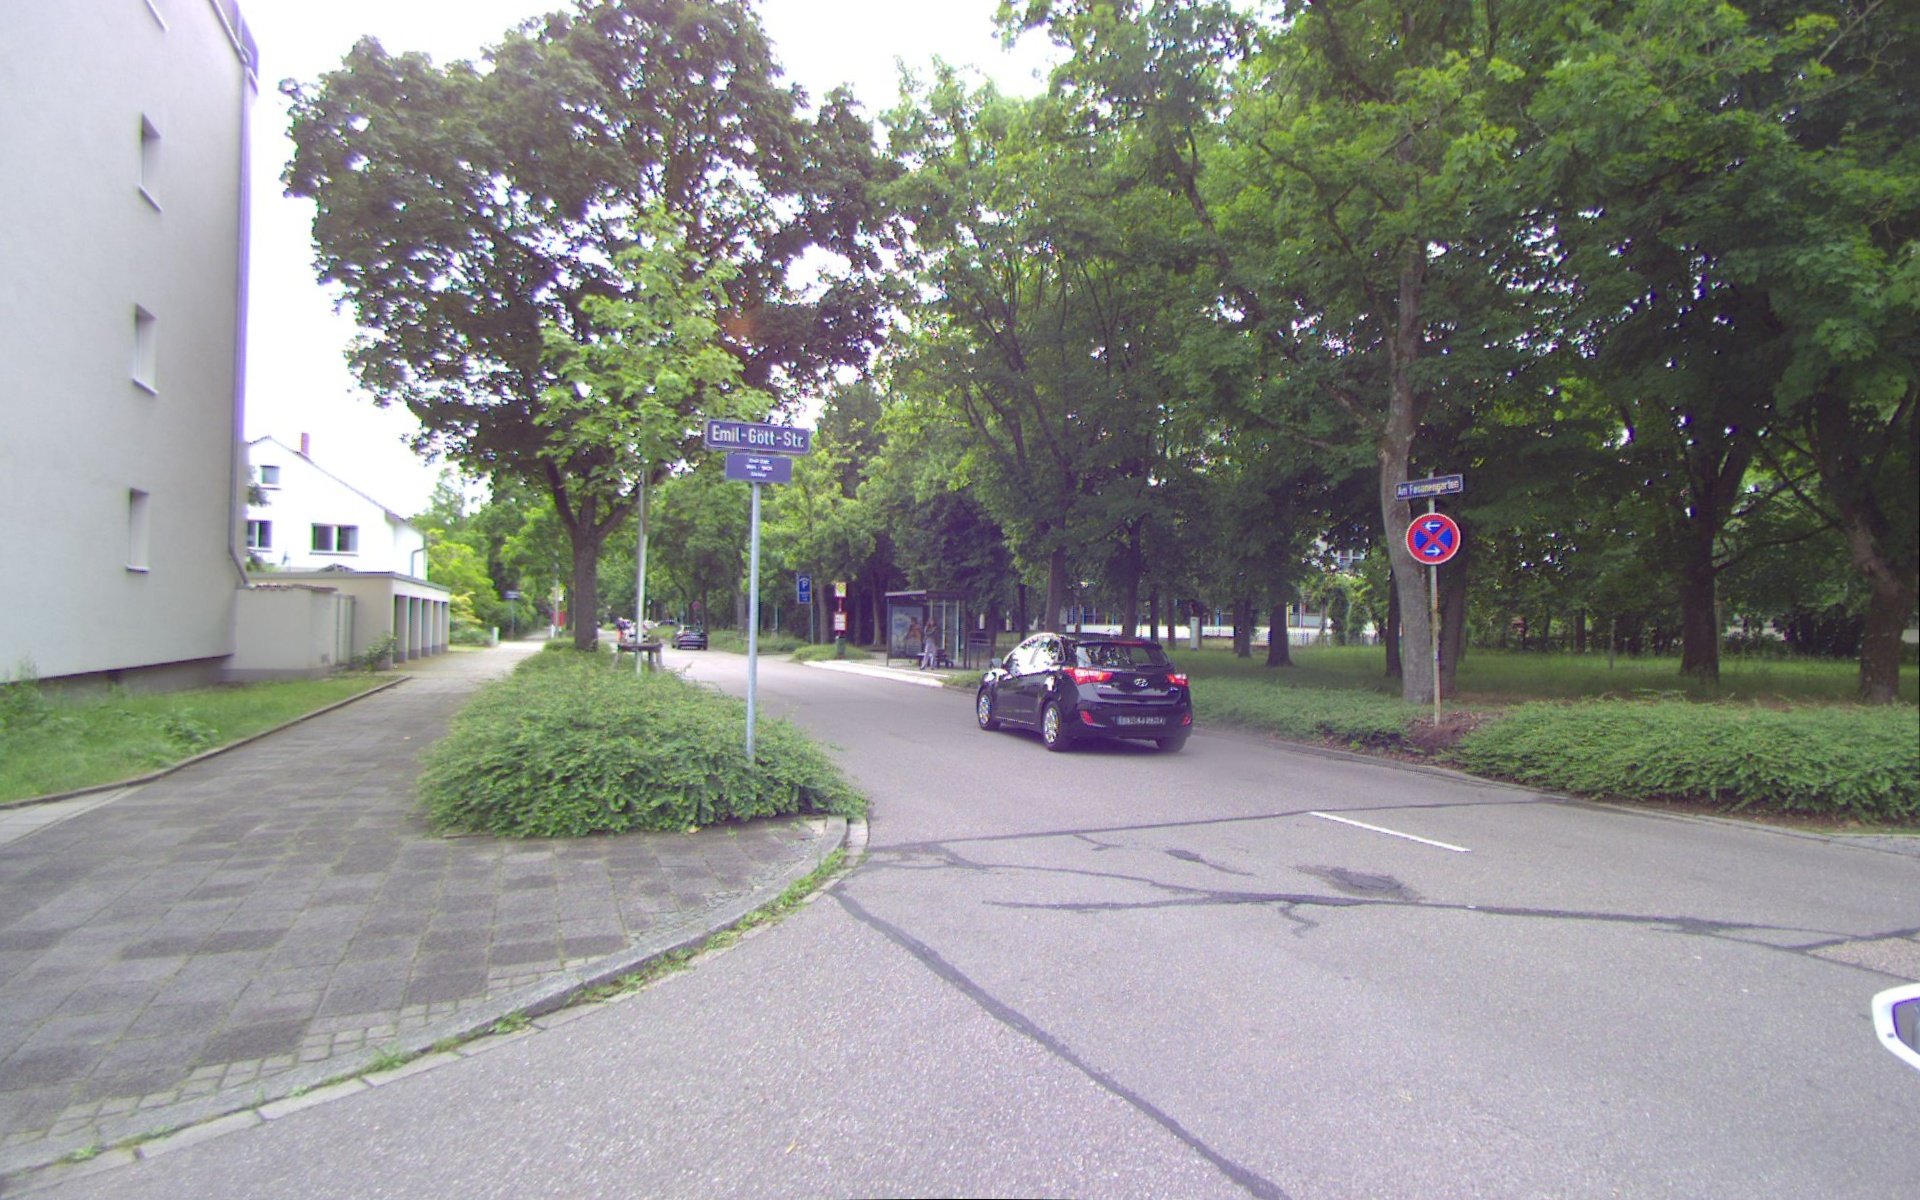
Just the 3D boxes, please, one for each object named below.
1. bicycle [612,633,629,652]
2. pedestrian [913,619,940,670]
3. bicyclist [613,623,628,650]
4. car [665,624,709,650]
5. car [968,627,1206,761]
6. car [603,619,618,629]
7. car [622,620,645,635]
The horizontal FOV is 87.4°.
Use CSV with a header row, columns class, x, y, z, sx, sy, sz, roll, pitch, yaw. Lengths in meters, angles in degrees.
class,x,y,z,sx,sy,sz,roll,pitch,yaw
bicycle,-19.361,2.391,57.204,0.785,1.039,2.551,1,-1,-21
pedestrian,-1.058,1.411,31.916,0.646,1.604,0.694,1,-1,-22
bicyclist,-19.327,2.077,57.196,0.775,1.489,0.932,1,-1,-22
car,-16.249,2.171,59.624,1.845,1.482,4.091,1,-1,-25
car,1.524,1.151,13.536,1.822,1.482,3.815,2,-1,-16
car,-55.386,3.841,159.041,1.971,1.505,3.979,1,-1,-22
car,-33.329,2.831,102.495,1.879,1.505,3.977,1,-1,-24
